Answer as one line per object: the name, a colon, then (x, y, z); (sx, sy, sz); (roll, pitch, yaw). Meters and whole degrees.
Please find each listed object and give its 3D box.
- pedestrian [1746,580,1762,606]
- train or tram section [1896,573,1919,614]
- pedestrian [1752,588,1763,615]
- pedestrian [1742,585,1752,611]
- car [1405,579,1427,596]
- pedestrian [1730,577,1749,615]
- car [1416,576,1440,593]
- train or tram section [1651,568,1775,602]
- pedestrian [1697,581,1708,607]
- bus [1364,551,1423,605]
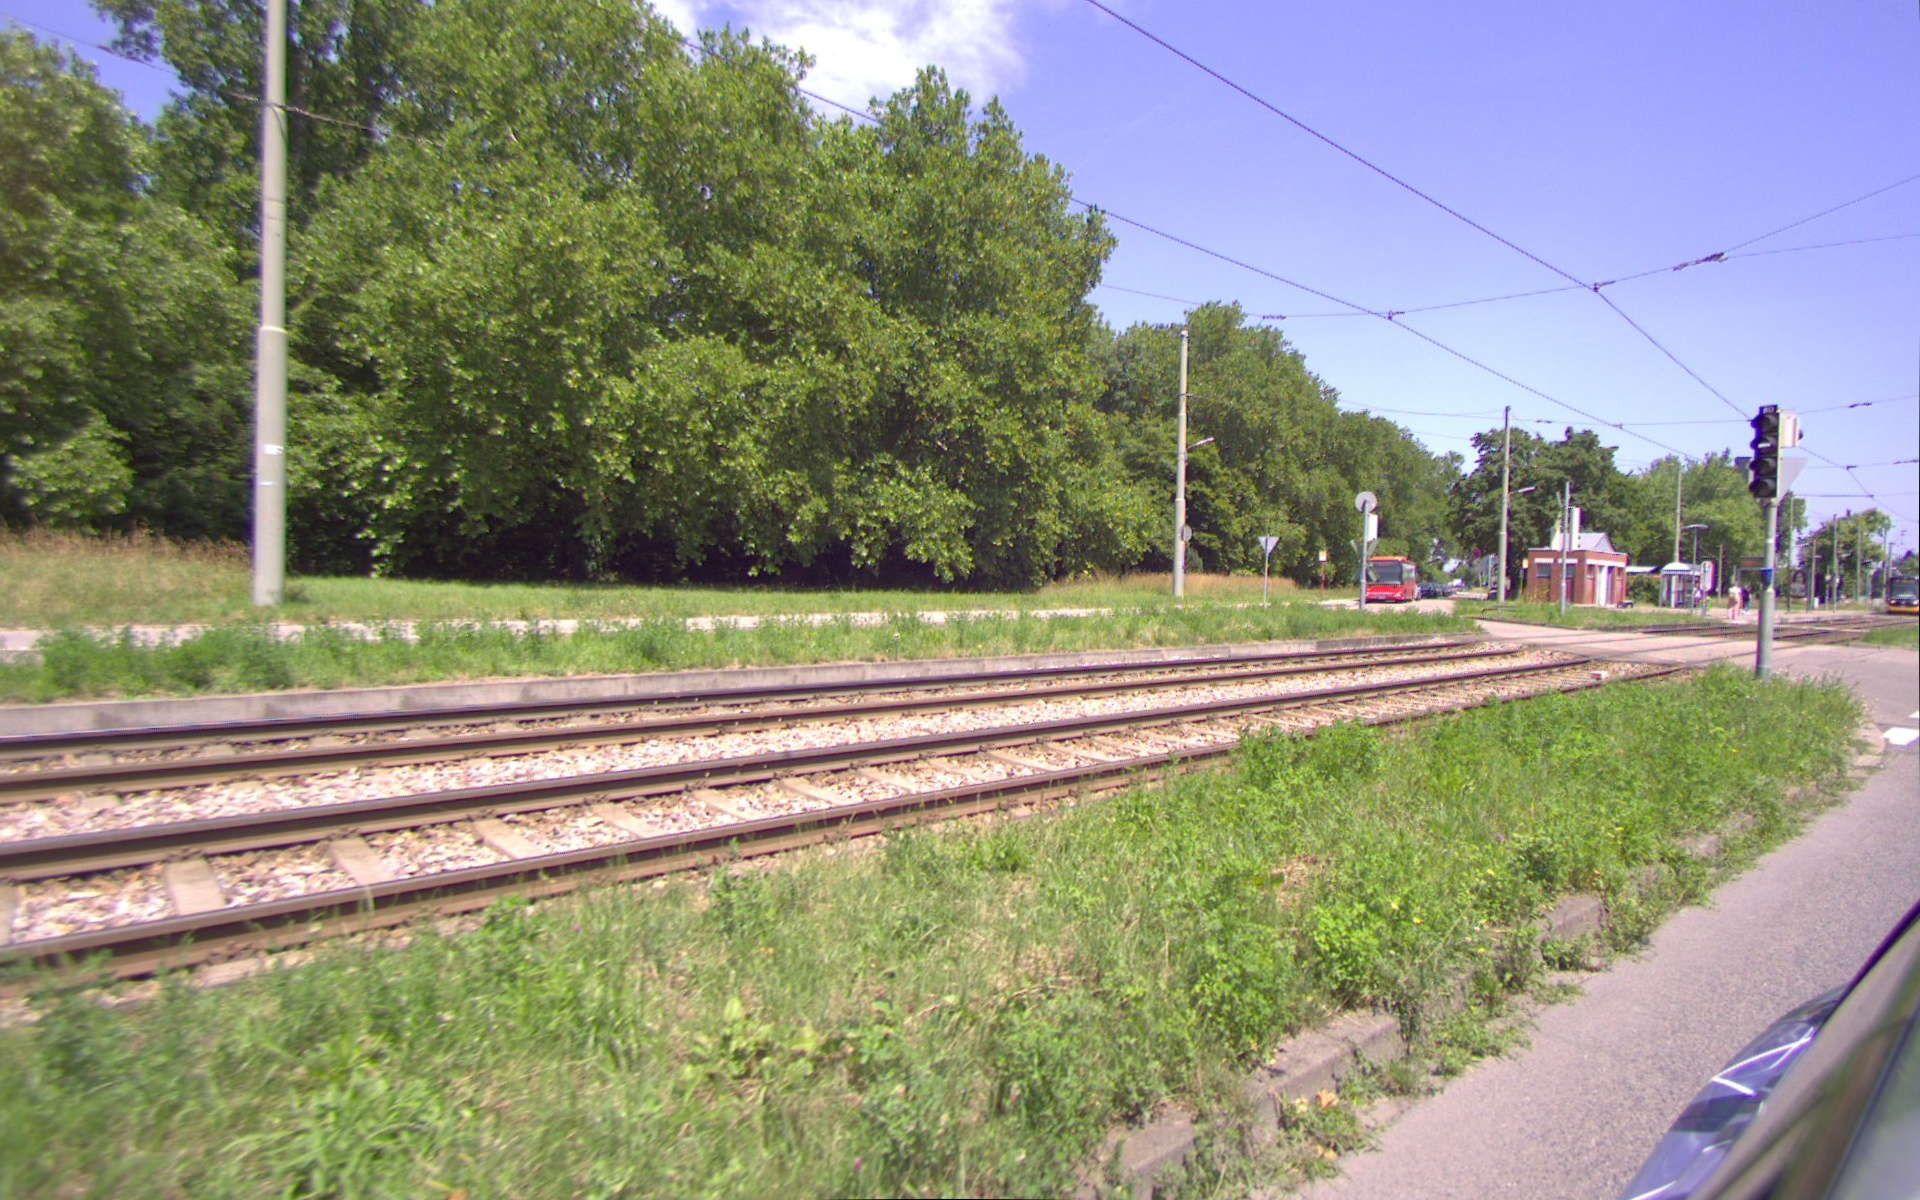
pedestrian: (56.689, -0.511, 72.217); (0.646, 1.786, 0.707); (1, 2, -40)
train or tram section: (83.473, -0.514, 87.771); (7.133, 3.363, 2.523); (1, 2, -41)
pedestrian: (50.122, 0.100, 63.609); (0.437, 1.666, 0.361); (1, 2, -39)
pedestrian: (50.017, -0.139, 64.313); (0.474, 1.616, 0.361); (1, 2, -39)
car: (37.847, -1.024, 83.960); (1.557, 1.281, 3.966); (3, 2, 25)
pedestrian: (36.896, -0.207, 47.895); (0.632, 1.781, 0.806); (1, 1, 35)
car: (46.245, -1.557, 99.981); (1.872, 1.529, 3.960); (3, 2, 29)
train or tram section: (88.025, -1.828, 118.863); (2.659, 3.694, 13.212); (0, 1, -12)
pedestrian: (50.975, -0.422, 69.451); (0.726, 1.796, 0.382); (1, 2, -39)
bus: (30.900, -1.553, 71.802); (2.743, 3.481, 12.321); (1, 1, 29)
